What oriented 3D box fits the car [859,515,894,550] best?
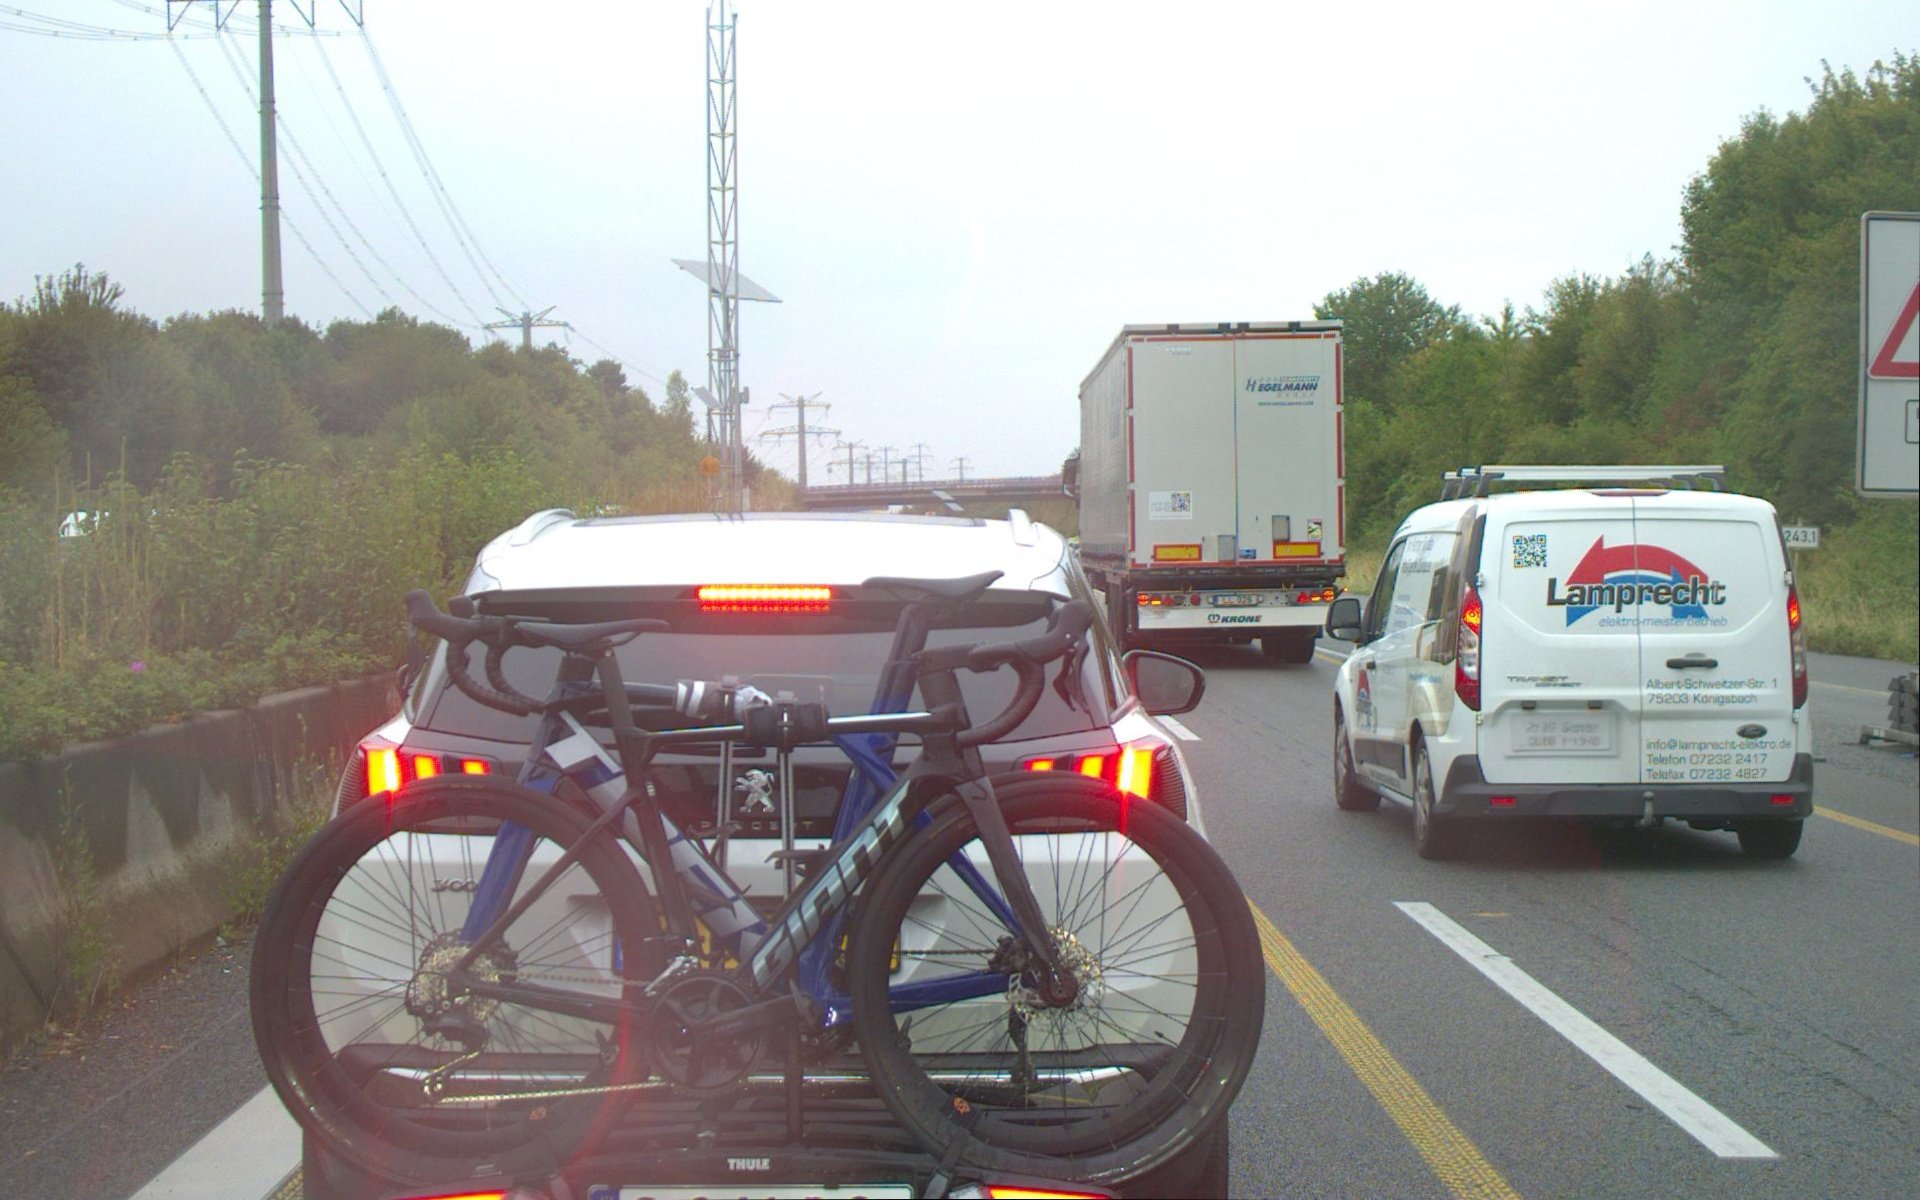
[{"bbox_3d":[-4.732,-3.863,195.176,1.931,1.904,4.001,0,2,-1],"label":"car"}]

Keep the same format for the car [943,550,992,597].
[{"bbox_3d":[0.311,-1.200,154.177,2.148,1.966,4.001,0,2,-1],"label":"car"}]

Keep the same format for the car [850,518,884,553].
[{"bbox_3d":[-5.478,-3.801,202.212,1.931,1.966,4.001,0,2,-1],"label":"car"}]

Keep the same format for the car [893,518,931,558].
[{"bbox_3d":[-2.443,-3.195,175.483,1.931,1.966,4.001,0,2,-1],"label":"car"}]

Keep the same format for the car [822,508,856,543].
[{"bbox_3d":[-8.505,-5.278,241.963,2.257,2.416,4.001,0,2,-1],"label":"car"}]

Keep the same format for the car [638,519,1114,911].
[{"bbox_3d":[-0.351,0.412,15.383,1.850,1.525,4.000,0,1,-1],"label":"car"}]

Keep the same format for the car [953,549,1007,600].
[{"bbox_3d":[0.801,-1.057,140.333,2.148,1.966,4.001,0,2,-1],"label":"car"}]

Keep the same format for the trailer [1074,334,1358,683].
[{"bbox_3d":[3.213,-1.195,46.864,2.692,4.062,13.634,0,1,-1],"label":"trailer"}]

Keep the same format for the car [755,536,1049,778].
[{"bbox_3d":[-0.389,0.326,23.709,1.850,1.525,4.000,0,1,-1],"label":"car"}]

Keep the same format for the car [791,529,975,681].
[{"bbox_3d":[-0.799,0.010,36.589,1.850,1.525,4.000,0,1,-1],"label":"car"}]

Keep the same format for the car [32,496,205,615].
[{"bbox_3d":[-16.495,-0.891,67.657,2.180,2.257,5.204,0,1,-1],"label":"car"}]

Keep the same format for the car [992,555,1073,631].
[{"bbox_3d":[1.983,-0.226,95.559,2.110,1.966,4.001,0,2,-1],"label":"car"}]

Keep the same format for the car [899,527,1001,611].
[{"bbox_3d":[-0.212,-0.605,64.492,1.850,1.525,4.000,0,1,-1],"label":"car"}]

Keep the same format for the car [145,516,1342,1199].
[{"bbox_3d":[-0.362,0.591,7.709,1.850,1.525,4.769,0,1,-1],"label":"car"}]

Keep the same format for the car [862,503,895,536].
[{"bbox_3d":[-4.922,-4.896,208.049,1.931,1.966,4.001,0,2,-1],"label":"car"}]

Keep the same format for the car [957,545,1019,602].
[{"bbox_3d":[1.003,-0.983,125.166,2.148,1.966,4.001,0,2,-1],"label":"car"}]

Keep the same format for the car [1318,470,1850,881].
[{"bbox_3d":[3.027,0.293,17.672,1.829,1.833,4.656,0,1,-1],"label":"car"}]

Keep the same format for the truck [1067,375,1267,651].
[{"bbox_3d":[3.151,-1.340,53.879,2.660,4.062,6.539,0,1,-1],"label":"truck"}]
